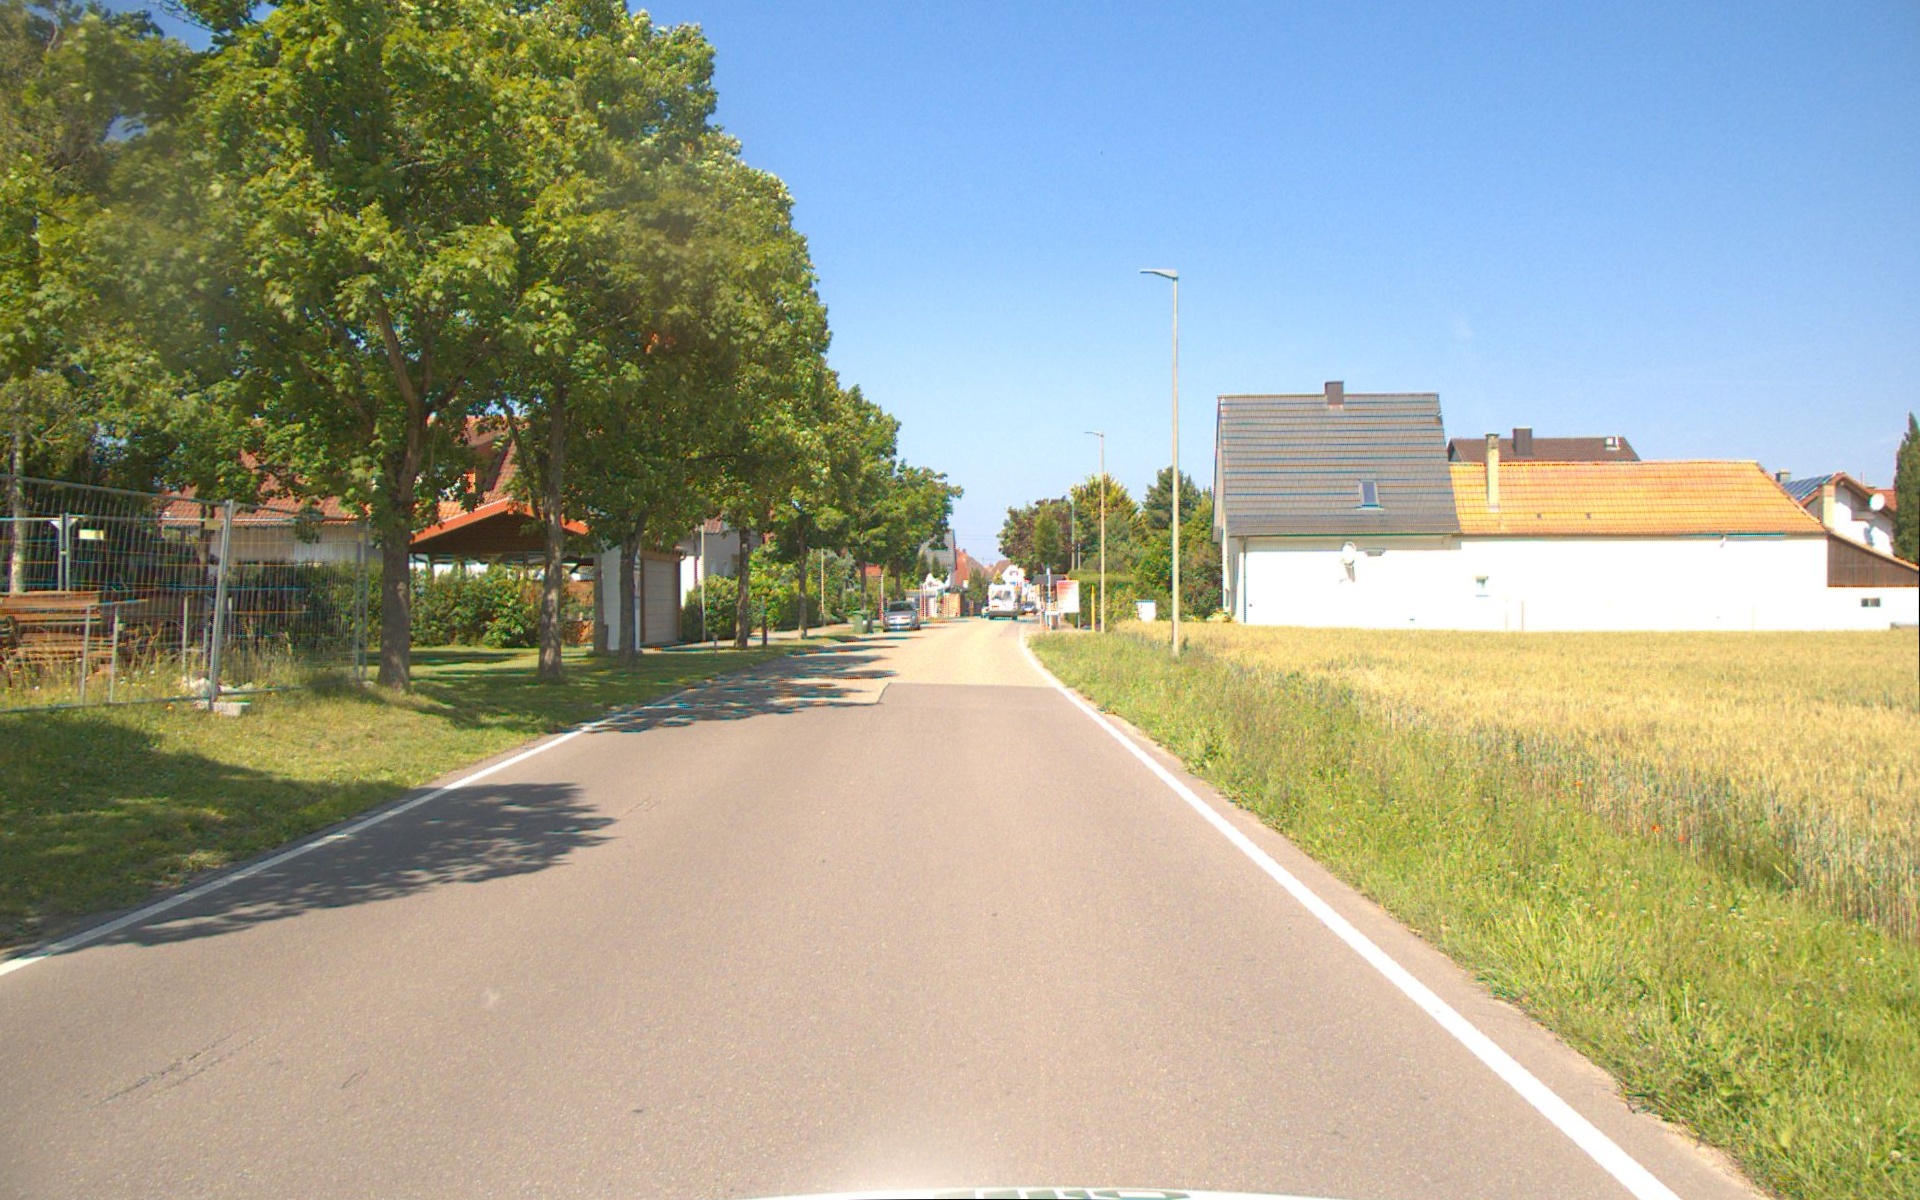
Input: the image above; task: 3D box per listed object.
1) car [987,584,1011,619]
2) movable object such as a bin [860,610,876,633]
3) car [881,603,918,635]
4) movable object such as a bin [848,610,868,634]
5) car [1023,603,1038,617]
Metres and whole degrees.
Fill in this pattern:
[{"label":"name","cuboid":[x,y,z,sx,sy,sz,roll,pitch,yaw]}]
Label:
[{"label":"car","cuboid":[2.881,0.134,121.113,1.701,2.475,4.375,-1,0,2]},{"label":"movable object such as a bin","cuboid":[-4.298,0.997,77.085,0.562,1.097,0.599,-1,-1,15]},{"label":"car","cuboid":[-2.961,0.908,81.796,1.613,1.448,4.080,-3,0,0]},{"label":"movable object such as a bin","cuboid":[-4.709,1.025,76.398,0.699,1.097,0.639,-1,-1,27]},{"label":"car","cuboid":[9.438,1.328,222.278,1.798,1.783,3.796,-1,0,0]}]
